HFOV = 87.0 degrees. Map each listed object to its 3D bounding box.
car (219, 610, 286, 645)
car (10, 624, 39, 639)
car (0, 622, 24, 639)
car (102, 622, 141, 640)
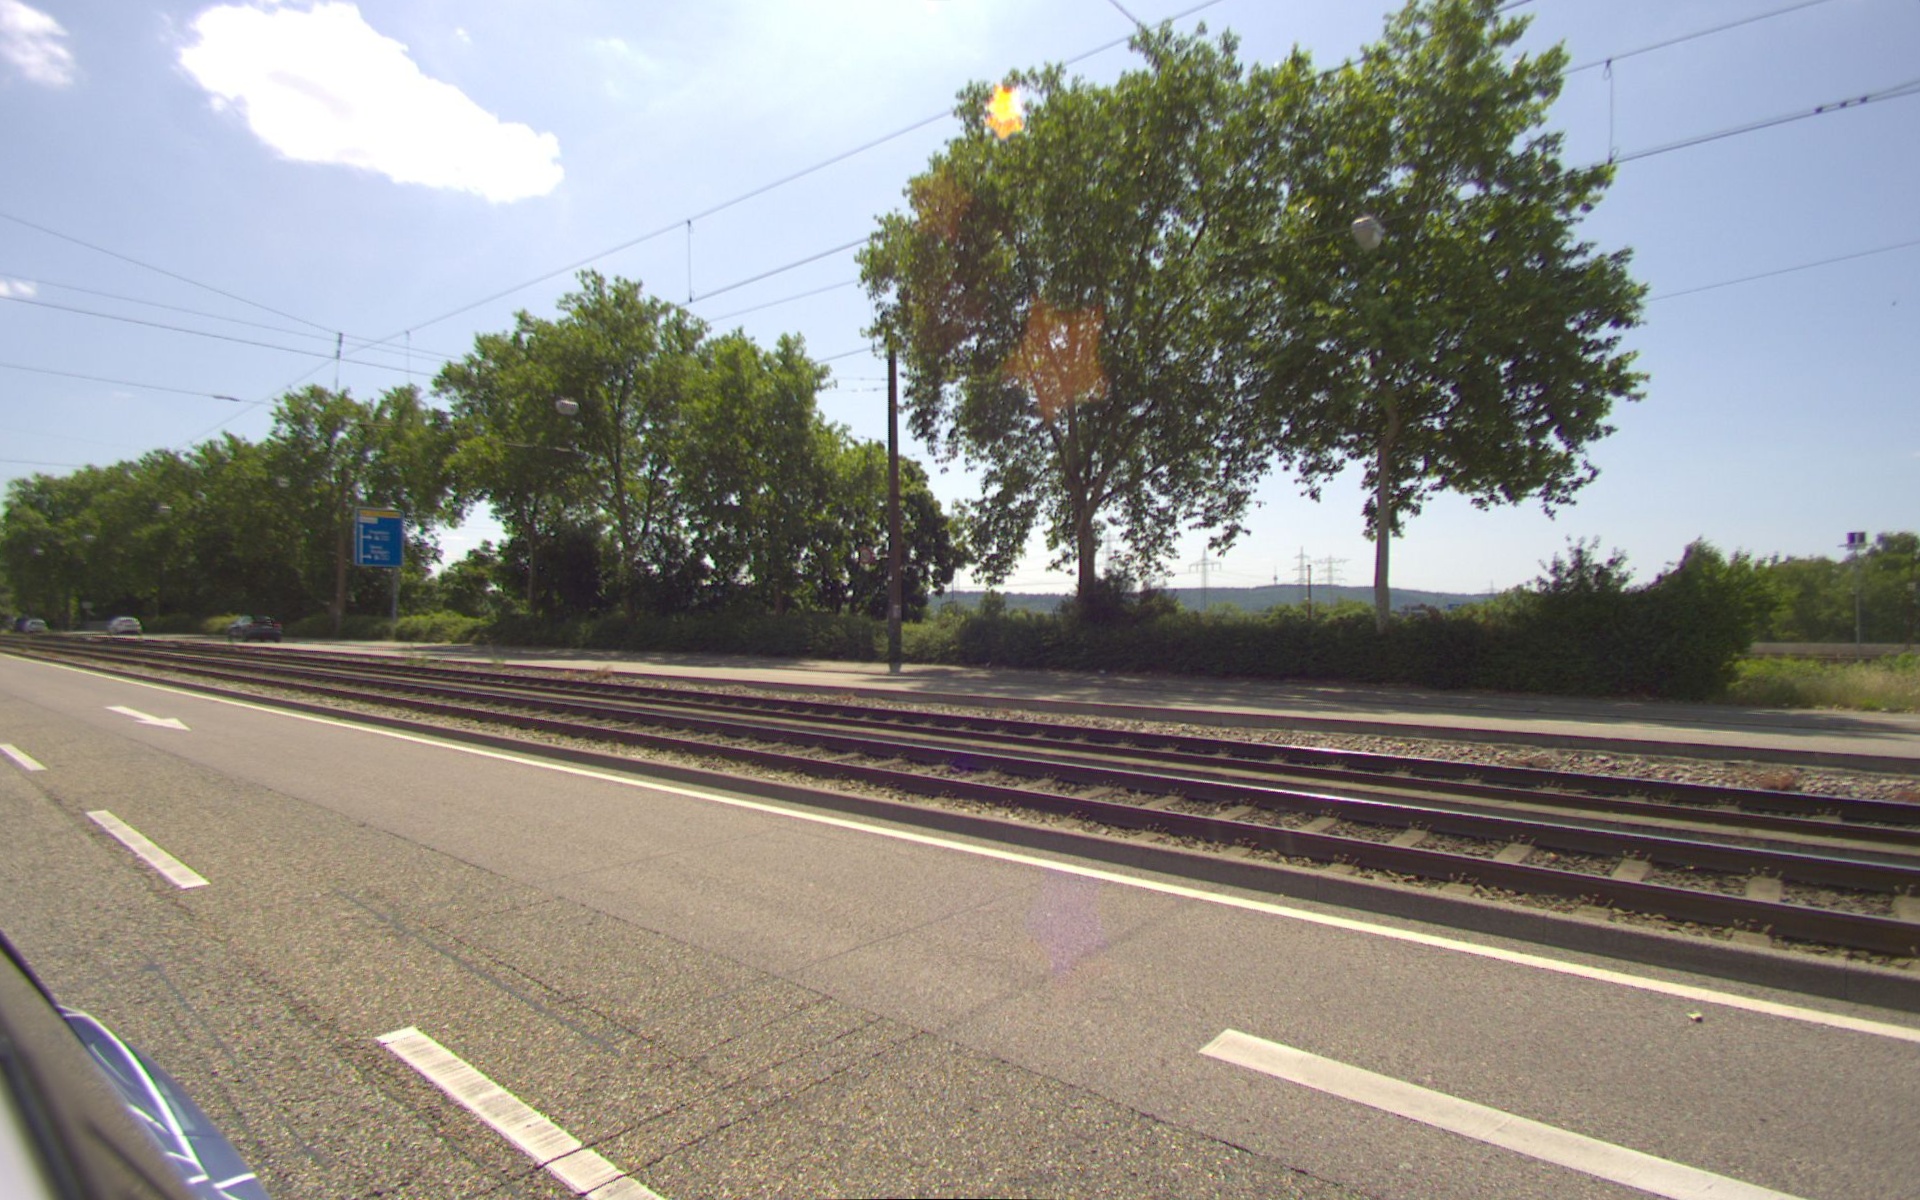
[{"bbox_3d":[-40.744,1.572,58.252,4.404,1.932,1.975,-1,-1,38],"label":"car"},{"bbox_3d":[-99.859,3.368,108.045,4.055,1.596,1.668,-1,-4,40],"label":"car"},{"bbox_3d":[-111.165,3.540,118.252,4.965,1.844,1.973,-1,-4,40],"label":"car"},{"bbox_3d":[-68.061,2.525,82.141,3.882,1.426,1.803,-1,-4,42],"label":"car"}]
